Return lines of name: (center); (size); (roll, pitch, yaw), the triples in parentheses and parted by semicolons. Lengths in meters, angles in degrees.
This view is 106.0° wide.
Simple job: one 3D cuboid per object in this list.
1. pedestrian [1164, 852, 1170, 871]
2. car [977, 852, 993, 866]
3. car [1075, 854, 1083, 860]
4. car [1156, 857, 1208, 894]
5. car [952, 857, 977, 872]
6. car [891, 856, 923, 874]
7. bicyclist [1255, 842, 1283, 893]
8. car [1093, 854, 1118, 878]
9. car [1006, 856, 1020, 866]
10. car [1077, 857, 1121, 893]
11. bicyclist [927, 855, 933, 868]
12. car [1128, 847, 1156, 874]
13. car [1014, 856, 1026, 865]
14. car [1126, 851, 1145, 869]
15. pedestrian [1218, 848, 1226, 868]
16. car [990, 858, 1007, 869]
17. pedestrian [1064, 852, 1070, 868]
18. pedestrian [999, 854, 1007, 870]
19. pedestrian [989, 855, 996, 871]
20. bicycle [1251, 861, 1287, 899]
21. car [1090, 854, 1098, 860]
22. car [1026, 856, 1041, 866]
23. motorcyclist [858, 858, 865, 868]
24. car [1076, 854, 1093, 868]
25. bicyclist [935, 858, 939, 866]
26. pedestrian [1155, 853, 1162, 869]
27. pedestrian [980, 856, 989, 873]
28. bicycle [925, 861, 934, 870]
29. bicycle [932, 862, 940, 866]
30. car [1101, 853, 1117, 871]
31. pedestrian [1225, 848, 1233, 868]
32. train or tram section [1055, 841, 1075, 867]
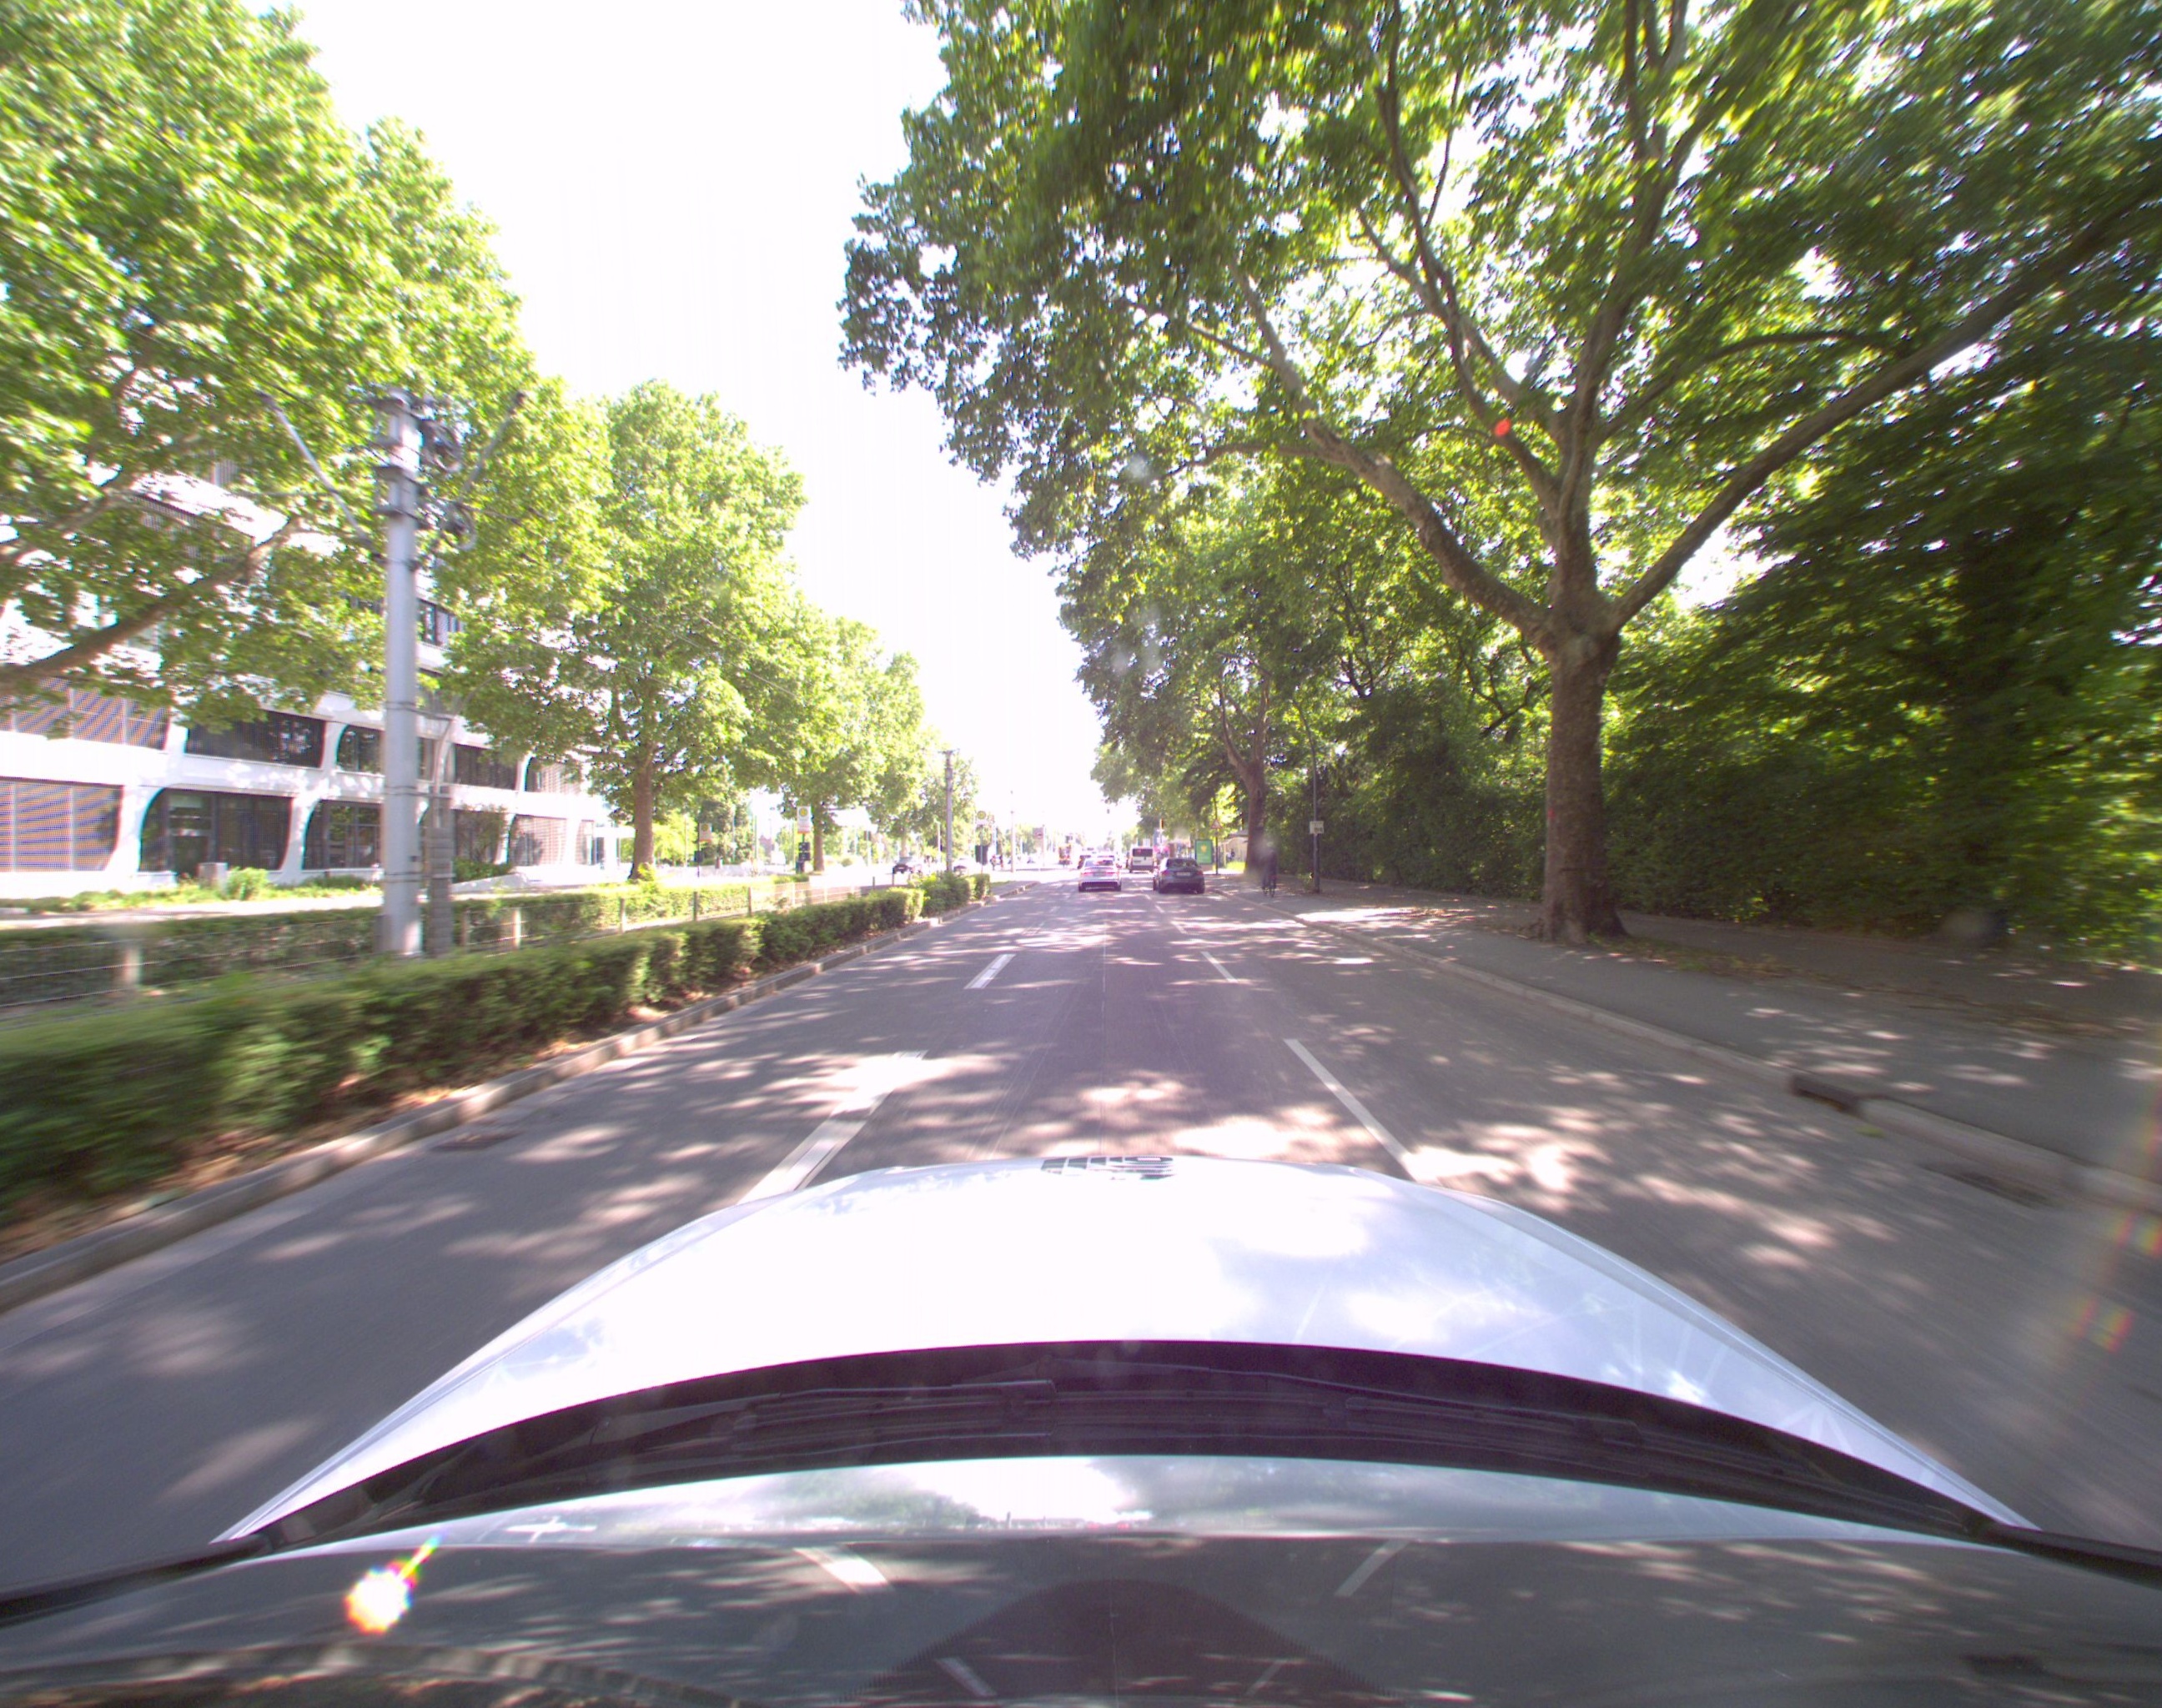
pedestrian: (8.918, 0.750, 84.290); (0.633, 1.946, 0.719); (0, -1, 2)
car: (-16.952, 0.917, 143.605); (2.106, 2.383, 4.003); (-1, 0, 3)
car: (-0.466, 0.870, 213.443); (1.862, 1.609, 4.005); (0, 0, 4)
car: (4.048, 0.848, 33.264); (1.775, 1.420, 4.002); (0, 0, 2)
car: (-12.302, 1.089, 86.185); (1.804, 1.563, 4.306); (0, 0, 2)
car: (-16.579, 1.021, 77.680); (1.823, 1.624, 4.898); (0, 0, 2)
bicyclist: (6.315, 0.450, 27.392); (0.632, 1.648, 0.980); (-3, 1, 1)
car: (1.724, 0.807, 56.798); (1.722, 1.605, 3.887); (0, 0, 2)
car: (-11.458, 1.214, 136.696); (1.863, 1.609, 4.003); (0, 0, 3)
car: (0.809, 0.864, 35.013); (1.778, 1.420, 3.887); (0, 0, 2)
bicyclist: (-18.773, 0.939, 101.216); (0.572, 1.604, 0.839); (0, 0, 2)
car: (5.175, 0.525, 69.689); (2.221, 2.212, 4.164); (0, 0, 2)
car: (-11.108, 1.214, 149.538); (1.756, 1.609, 3.863); (0, 0, 3)
car: (6.182, 0.710, 93.231); (2.064, 1.999, 4.060); (0, 0, 2)
pedestrian: (13.611, 0.417, 78.583); (0.611, 1.896, 0.694); (-1, 0, -1)
car: (-11.724, 1.331, 116.068); (1.789, 1.488, 4.388); (0, 0, 3)
pedestrian: (-1.682, 0.689, 99.415); (0.621, 1.918, 0.690); (0, -1, 2)
pedestrian: (-8.576, 0.905, 89.526); (0.769, 1.734, 0.756); (0, 0, 10)
pedestrian: (-9.052, 0.916, 83.036); (0.590, 1.646, 0.555); (0, -1, 2)
bicycle: (6.322, 0.846, 27.501); (0.712, 1.148, 2.179); (-3, 0, 1)
car: (3.498, 0.861, 213.186); (1.862, 1.609, 4.005); (0, 0, 4)
car: (-8.116, 1.213, 139.413); (1.985, 1.734, 4.003); (0, 0, 3)
motorcyclist: (-30.369, 1.238, 112.713); (0.750, 1.314, 0.604); (0, -1, 2)
car: (0.408, 0.784, 92.269); (1.722, 1.631, 4.002); (0, 0, 2)
bicyclist: (-23.986, 1.295, 135.517); (0.469, 1.292, 0.500); (0, -1, 31)
pedestrian: (8.488, 0.805, 89.351); (0.600, 1.694, 0.954); (-3, -1, 2)
pedestrian: (-9.236, 1.036, 78.160); (0.760, 1.623, 0.590); (0, -1, -23)
bicycle: (-18.781, 1.385, 101.132); (0.664, 1.094, 1.885); (0, 0, 3)
bicycle: (-24.094, 1.694, 135.331); (0.486, 0.731, 1.632); (0, 0, 31)
car: (3.166, 0.898, 92.461); (1.722, 1.901, 4.002); (0, 0, 2)
pedestrian: (14.274, 0.406, 78.623); (0.611, 1.896, 0.597); (-1, 0, -1)
train or tram section: (-2.401, -0.016, 127.621); (2.606, 4.015, 7.754); (0, 0, 3)
